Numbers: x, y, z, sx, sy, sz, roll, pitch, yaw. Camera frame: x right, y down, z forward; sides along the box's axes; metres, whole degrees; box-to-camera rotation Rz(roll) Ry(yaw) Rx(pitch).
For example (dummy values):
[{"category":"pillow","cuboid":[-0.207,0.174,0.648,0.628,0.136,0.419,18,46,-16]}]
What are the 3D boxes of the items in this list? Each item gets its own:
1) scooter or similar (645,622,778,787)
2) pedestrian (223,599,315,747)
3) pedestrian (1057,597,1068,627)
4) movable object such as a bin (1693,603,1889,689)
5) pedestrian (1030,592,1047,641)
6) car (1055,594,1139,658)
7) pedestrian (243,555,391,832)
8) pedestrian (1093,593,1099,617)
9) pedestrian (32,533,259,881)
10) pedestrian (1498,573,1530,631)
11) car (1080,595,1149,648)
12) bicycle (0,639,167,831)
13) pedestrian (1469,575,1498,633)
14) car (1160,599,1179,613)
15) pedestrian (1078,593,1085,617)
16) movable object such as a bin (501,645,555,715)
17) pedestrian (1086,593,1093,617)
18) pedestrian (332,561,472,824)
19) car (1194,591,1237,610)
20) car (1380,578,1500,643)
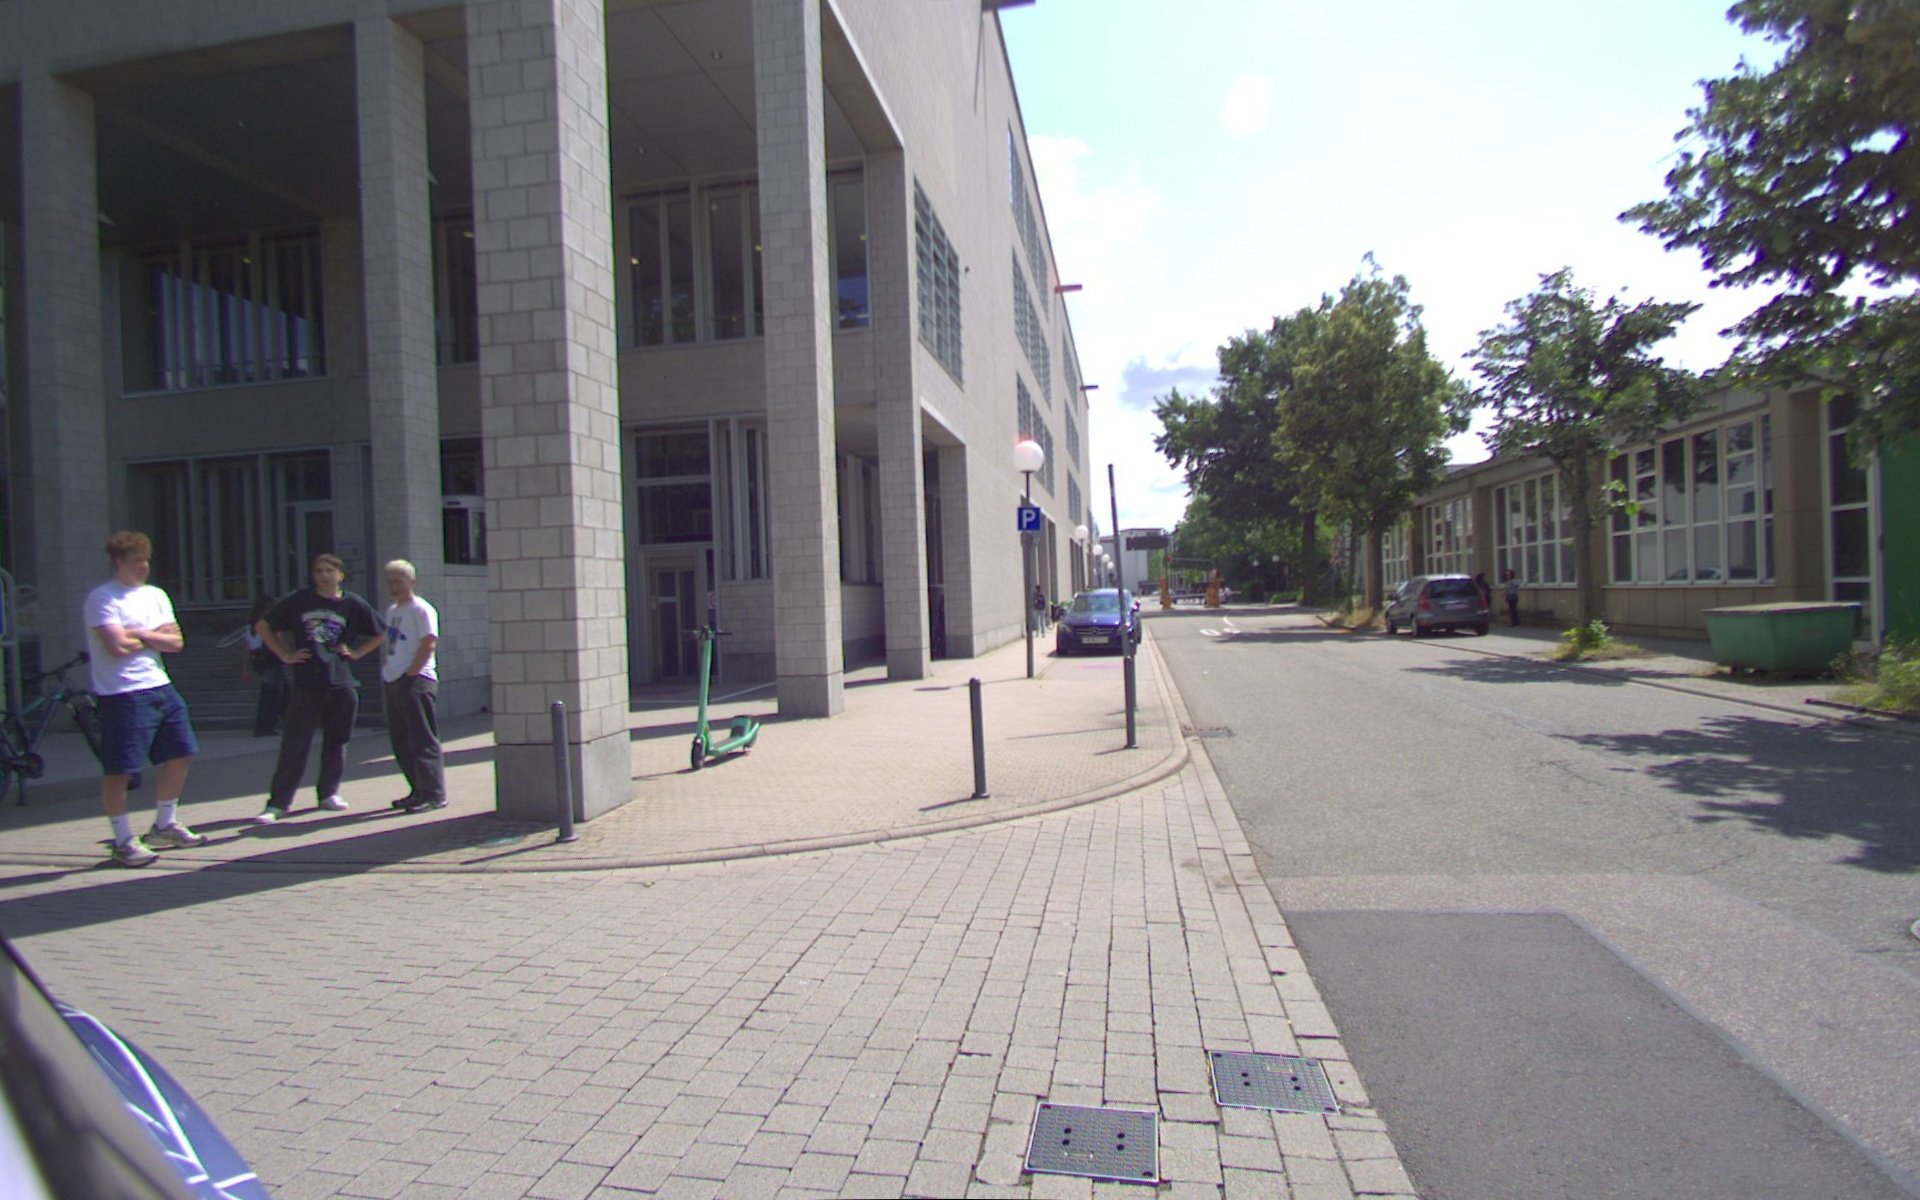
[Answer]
[{"category":"scooter or similar","cuboid":[-2.056,0.822,8.569,0.558,1.221,1.506,0,0,9]},{"category":"pedestrian","cuboid":[-8.537,0.877,12.527,0.679,1.747,0.686,-2,-1,-8]},{"category":"pedestrian","cuboid":[4.918,0.586,48.472,0.461,1.419,0.462,1,-1,16]},{"category":"movable object such as a bin","cuboid":[10.941,0.585,13.441,1.282,0.992,1.690,-4,-2,11]},{"category":"pedestrian","cuboid":[2.577,0.526,33.081,0.544,1.593,0.604,0,-1,7]},{"category":"car","cuboid":[3.322,0.602,24.098,1.824,1.409,3.865,0,-1,10]},{"category":"pedestrian","cuboid":[-4.502,0.606,7.108,0.796,1.810,0.622,-2,0,-33]},{"category":"pedestrian","cuboid":[9.217,0.351,68.573,0.379,1.642,0.517,1,-1,11]},{"category":"pedestrian","cuboid":[-4.749,0.596,5.942,0.679,1.905,0.685,-3,1,7]},{"category":"pedestrian","cuboid":[15.424,0.047,28.170,0.598,1.593,0.550,0,-1,8]},{"category":"car","cuboid":[4.505,0.613,29.291,1.824,1.409,3.865,0,-1,10]},{"category":"bicycle","cuboid":[-6.827,0.964,7.319,0.526,1.251,1.825,-2,1,9]},{"category":"pedestrian","cuboid":[14.587,0.122,28.173,0.605,1.593,0.544,-1,-1,41]},{"category":"car","cuboid":[24.005,0.643,116.116,1.784,1.460,3.666,-5,-1,9]},{"category":"pedestrian","cuboid":[8.281,0.337,68.790,0.437,1.642,0.568,1,-1,11]},{"category":"movable object such as a bin","cuboid":[-6.205,1.142,14.542,0.507,0.956,0.511,1,-1,8]},{"category":"pedestrian","cuboid":[8.784,0.345,68.668,0.379,1.642,0.517,1,-1,11]},{"category":"pedestrian","cuboid":[-3.855,0.619,7.019,0.608,1.742,0.540,-2,0,12]},{"category":"car","cuboid":[24.096,0.018,95.573,3.635,1.460,1.800,-5,-1,9]},{"category":"car","cuboid":[12.617,0.254,26.846,1.784,1.460,3.666,-5,-1,9]}]
